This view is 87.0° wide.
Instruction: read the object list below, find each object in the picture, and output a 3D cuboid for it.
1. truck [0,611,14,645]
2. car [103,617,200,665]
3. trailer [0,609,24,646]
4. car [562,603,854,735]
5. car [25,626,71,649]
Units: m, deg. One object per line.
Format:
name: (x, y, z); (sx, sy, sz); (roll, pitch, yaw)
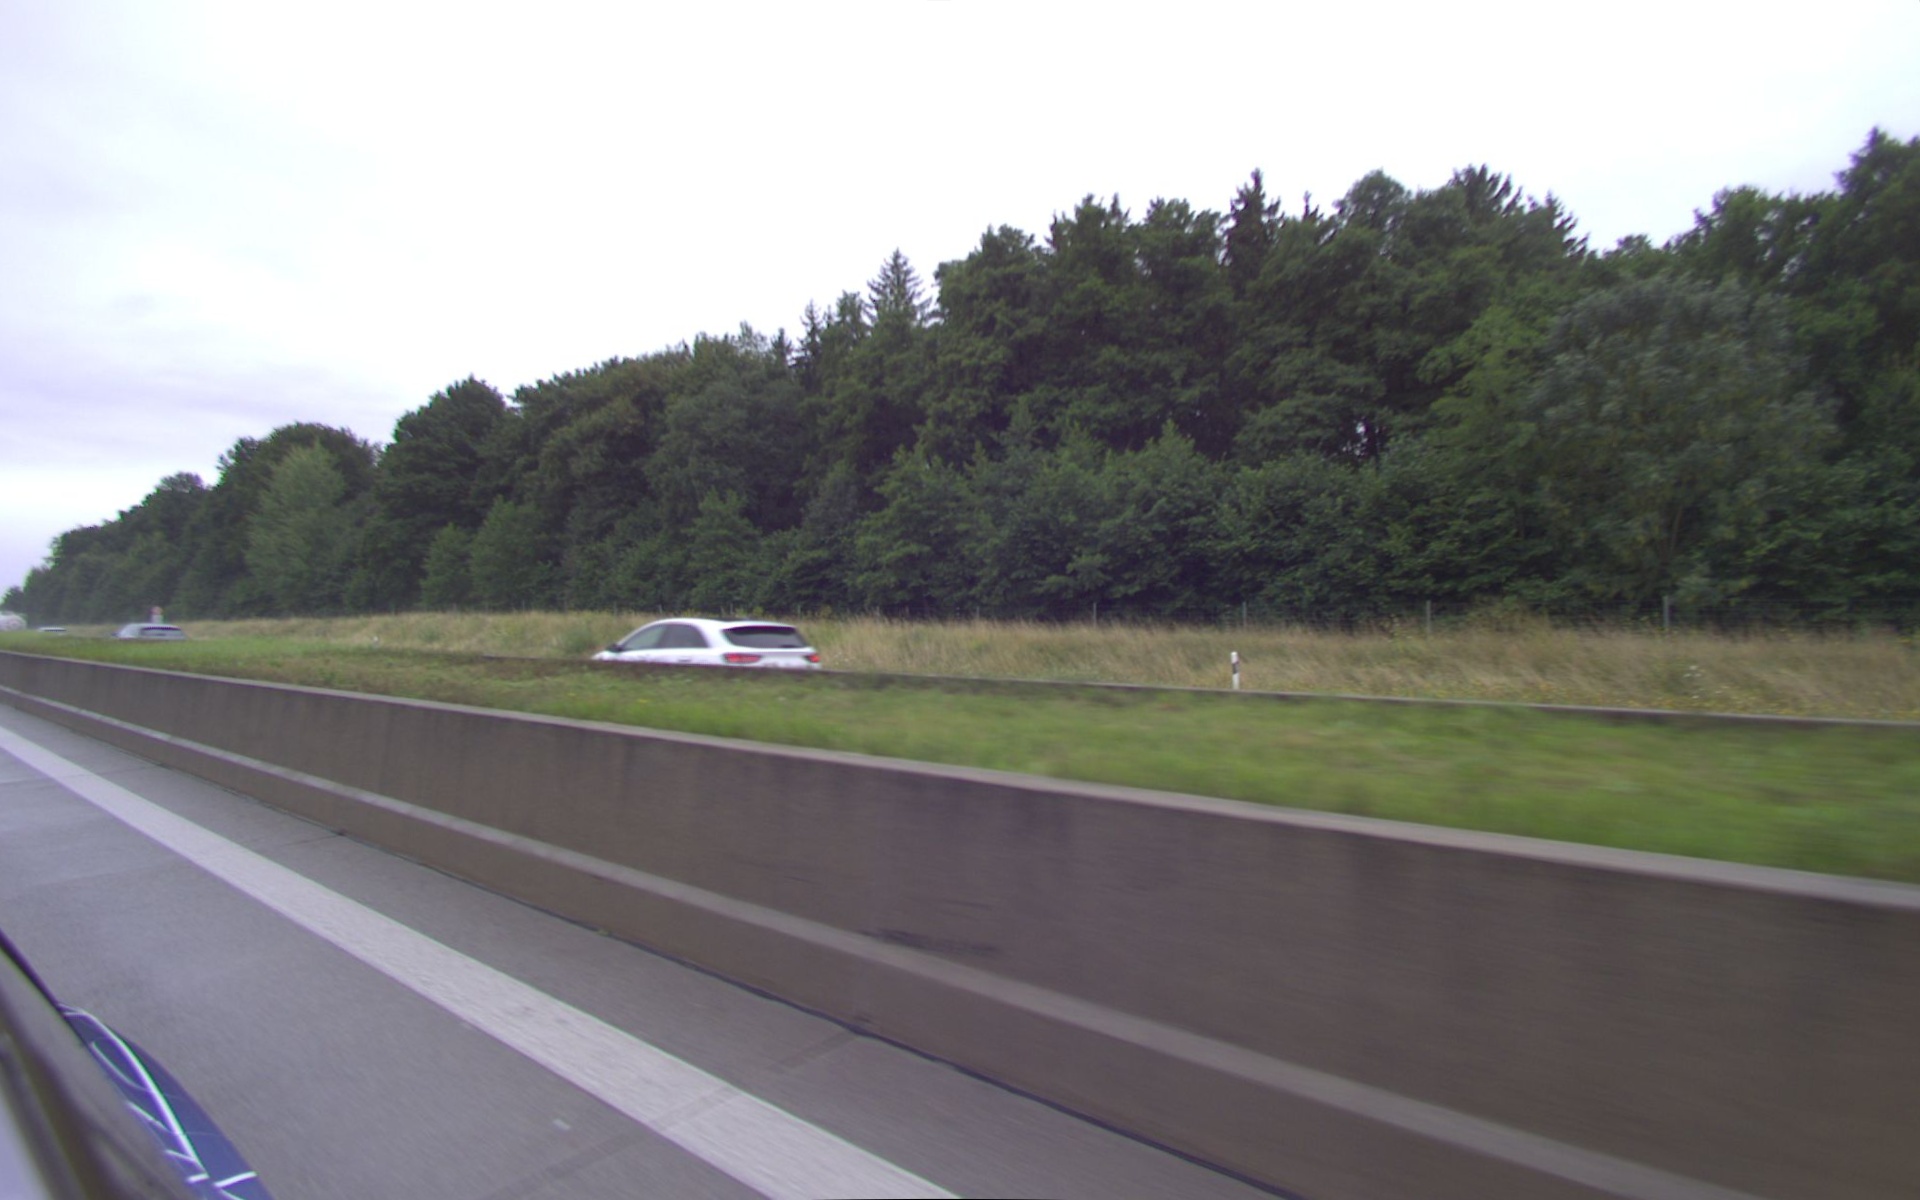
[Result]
truck: (-111.776, 3.240, 116.985); (6.430, 3.905, 2.638); (-1, -2, 40)
car: (-27.845, 1.369, 34.800); (4.343, 1.554, 1.796); (-1, -2, 40)
trailer: (-107.858, 3.185, 113.663); (11.126, 4.002, 2.637); (-2, -2, 40)
car: (-3.596, 0.862, 13.977); (4.451, 1.554, 1.635); (-1, -2, 40)
car: (-64.068, 2.630, 71.093); (4.636, 1.555, 1.793); (-1, -2, 40)
